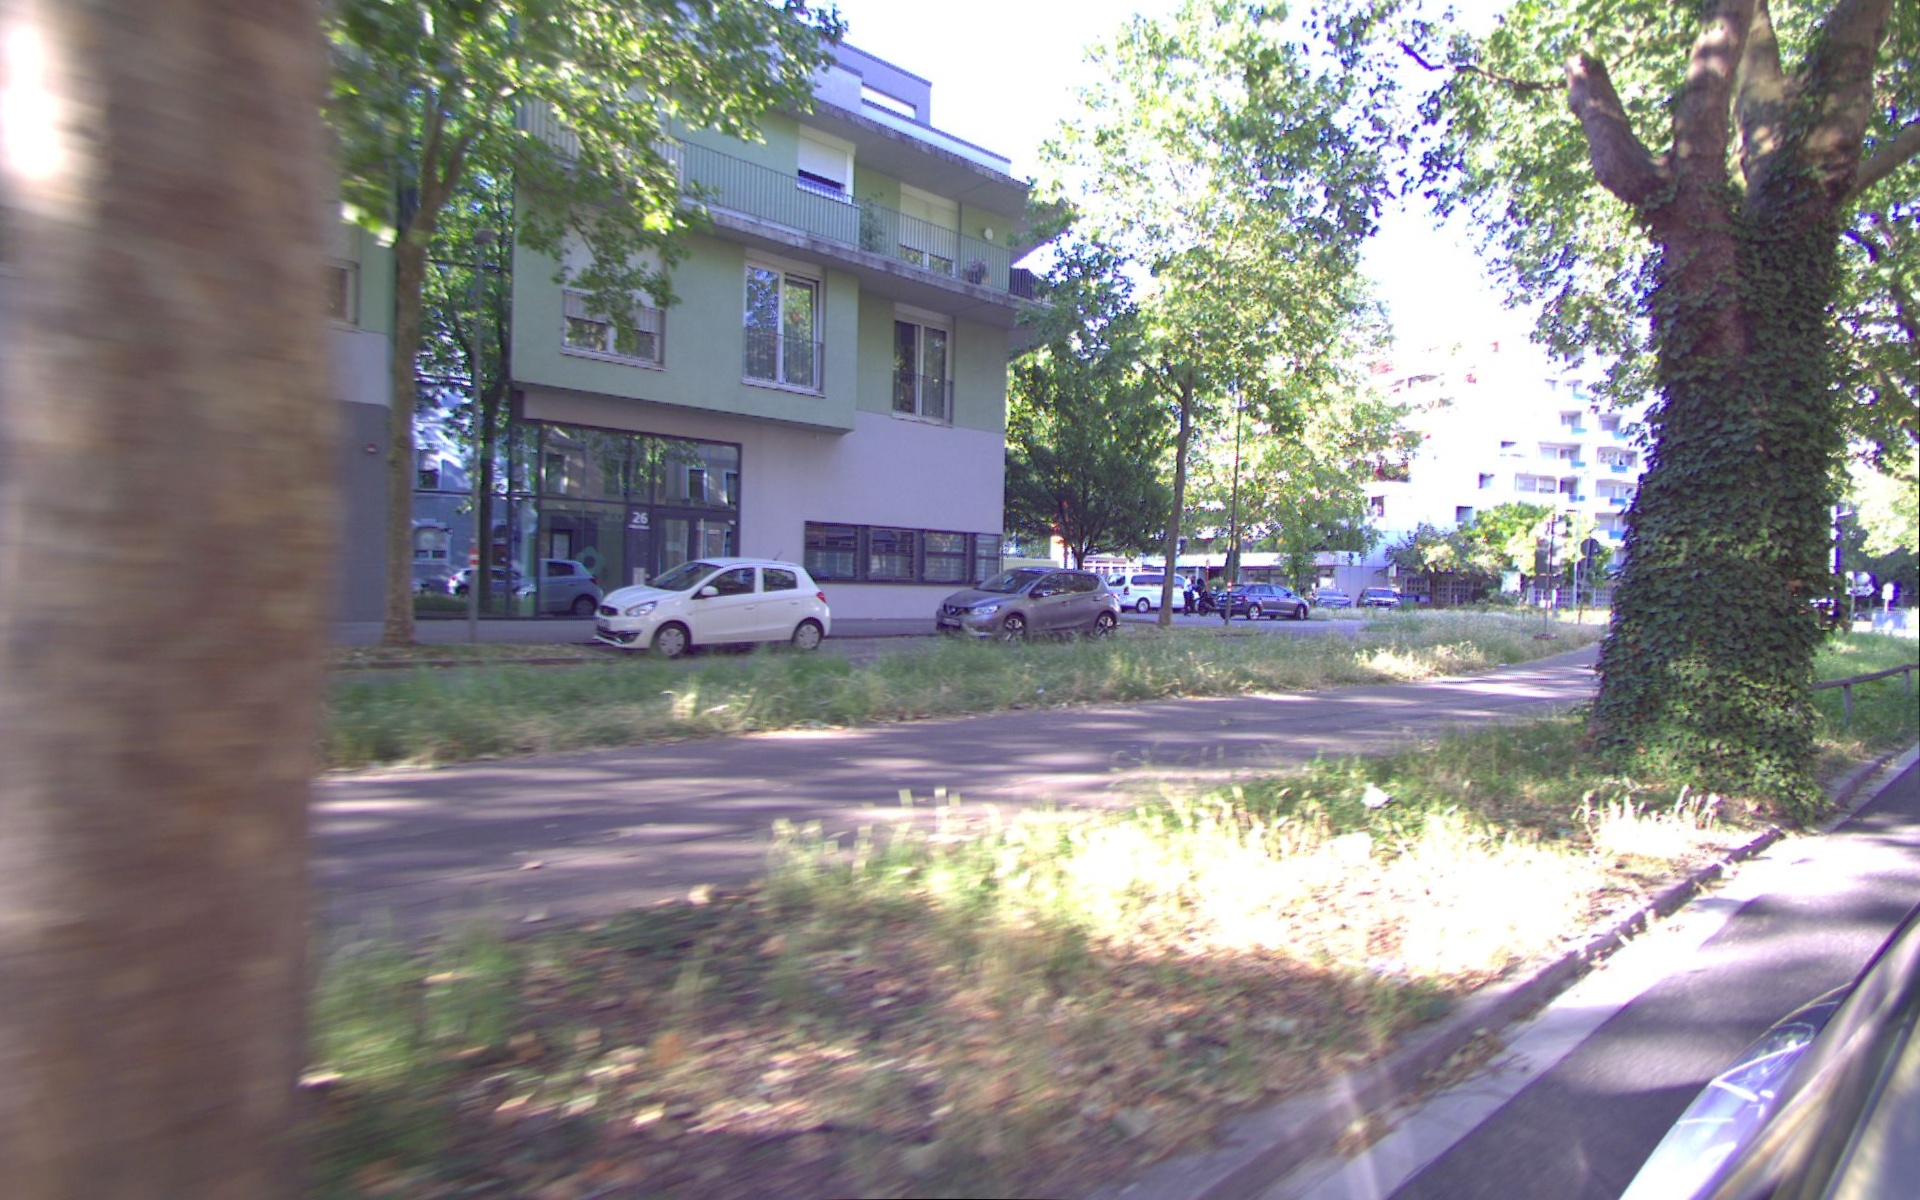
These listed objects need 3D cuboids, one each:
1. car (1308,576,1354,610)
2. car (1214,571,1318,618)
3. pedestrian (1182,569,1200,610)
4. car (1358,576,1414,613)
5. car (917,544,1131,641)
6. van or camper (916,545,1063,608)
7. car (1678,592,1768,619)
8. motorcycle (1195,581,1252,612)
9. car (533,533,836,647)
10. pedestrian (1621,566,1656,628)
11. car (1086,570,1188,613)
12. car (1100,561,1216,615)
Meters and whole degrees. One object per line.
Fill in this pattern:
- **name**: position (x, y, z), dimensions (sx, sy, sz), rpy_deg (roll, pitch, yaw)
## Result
- **car**: position (20.283, -0.337, 55.465), dimensions (1.802, 1.607, 4.349), rpy_deg (4, 0, 14)
- **car**: position (12.154, -0.209, 40.148), dimensions (3.906, 1.542, 1.678), rpy_deg (4, -1, -30)
- **pedestrian**: position (9.856, -0.454, 43.184), dimensions (0.521, 1.773, 0.561), rpy_deg (-1, 1, -30)
- **car**: position (22.488, -0.260, 53.584), dimensions (1.910, 1.680, 4.457), rpy_deg (4, 0, 14)
- **car**: position (1.377, -0.161, 20.740), dimensions (4.244, 1.793, 1.908), rpy_deg (0, 2, -41)
- **van or camper**: position (1.139, -0.919, 39.736), dimensions (5.257, 2.275, 2.270), rpy_deg (1, 1, -23)
- **car**: position (48.648, 0.317, 64.609), dimensions (4.155, 1.530, 1.789), rpy_deg (2, 1, 21)
- **motorcycle**: position (11.182, -0.158, 42.958), dimensions (2.269, 1.263, 0.953), rpy_deg (1, 1, -29)
- **car**: position (-4.252, -0.156, 16.001), dimensions (4.244, 1.562, 1.862), rpy_deg (0, 1, -41)
- **pedestrian**: position (21.270, -0.105, 31.732), dimensions (0.781, 1.903, 0.792), rpy_deg (2, 1, 39)
- **car**: position (8.798, -0.432, 50.287), dimensions (4.537, 1.798, 2.005), rpy_deg (4, -1, -25)
- **car**: position (9.224, -0.551, 47.137), dimensions (4.946, 2.123, 2.005), rpy_deg (4, -1, -25)
